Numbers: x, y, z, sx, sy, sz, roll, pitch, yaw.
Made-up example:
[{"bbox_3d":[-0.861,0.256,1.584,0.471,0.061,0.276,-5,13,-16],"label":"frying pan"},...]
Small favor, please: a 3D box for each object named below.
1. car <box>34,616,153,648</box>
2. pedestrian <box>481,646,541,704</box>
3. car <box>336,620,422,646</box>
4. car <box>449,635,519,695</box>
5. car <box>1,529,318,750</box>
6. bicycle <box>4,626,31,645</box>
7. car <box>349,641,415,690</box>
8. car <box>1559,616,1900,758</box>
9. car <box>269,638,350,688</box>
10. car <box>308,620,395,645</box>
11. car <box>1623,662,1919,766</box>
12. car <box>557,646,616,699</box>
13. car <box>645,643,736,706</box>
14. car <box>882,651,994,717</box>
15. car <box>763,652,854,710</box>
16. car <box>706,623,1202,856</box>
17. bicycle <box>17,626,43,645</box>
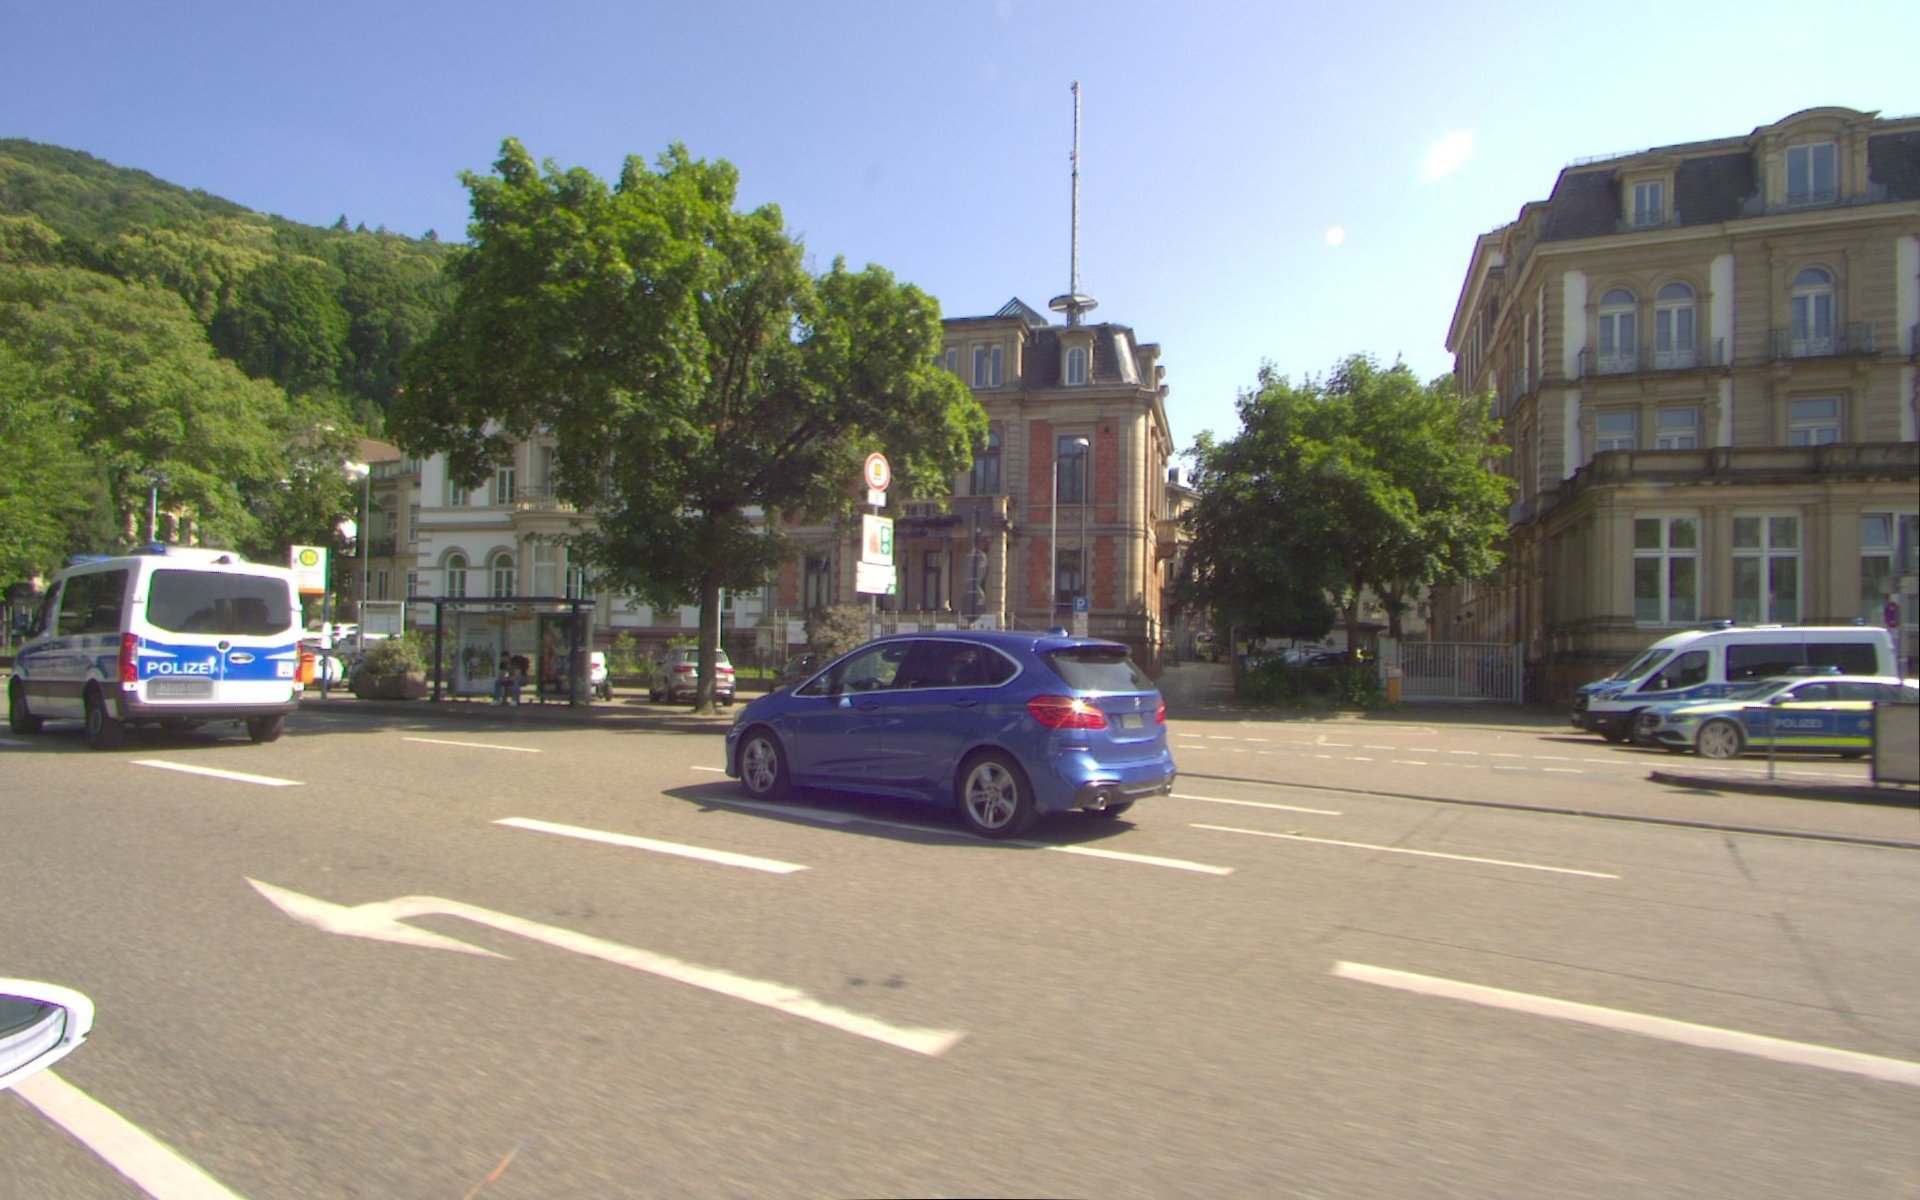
[{"bbox_3d":[-43.535,1.620,50.419,1.844,1.494,4.151,0,-2,19],"label":"car"},{"bbox_3d":[-9.807,1.626,21.924,0.776,1.212,1.022,1,-2,4],"label":"pedestrian"},{"bbox_3d":[-33.439,1.920,57.736,1.790,1.437,4.055,0,-2,22],"label":"car"},{"bbox_3d":[-14.776,1.974,30.966,1.689,1.717,4.255,3,-3,-28],"label":"car"},{"bbox_3d":[-11.084,0.546,13.764,4.863,2.539,2.069,-1,-3,35],"label":"car"},{"bbox_3d":[-57.192,2.146,60.759,1.805,1.099,0.537,0,-1,26],"label":"bicycle"},{"bbox_3d":[-18.529,2.066,32.227,1.689,1.460,3.795,3,-3,-28],"label":"car"},{"bbox_3d":[15.676,1.717,20.768,5.220,2.636,1.999,1,-2,15],"label":"car"},{"bbox_3d":[-21.464,2.055,33.160,1.687,1.530,3.798,2,-3,-25],"label":"car"},{"bbox_3d":[-35.794,1.932,59.012,1.790,1.353,4.082,0,-2,22],"label":"car"},{"bbox_3d":[15.081,2.011,18.119,4.789,1.646,1.822,1,-3,14],"label":"car"},{"bbox_3d":[-11.156,2.141,29.848,1.185,1.501,2.276,3,-3,-32],"label":"car"},{"bbox_3d":[-7.782,2.068,28.690,1.688,1.650,4.300,2,-3,-26],"label":"car"},{"bbox_3d":[-0.674,2.207,26.959,1.721,1.594,3.868,2,-3,-22],"label":"car"},{"bbox_3d":[-4.179,2.160,27.239,1.580,1.434,3.811,2,-3,-22],"label":"car"},{"bbox_3d":[-0.214,1.032,8.790,4.220,1.560,1.713,-1,-4,39],"label":"car"},{"bbox_3d":[-56.998,2.169,61.336,1.805,1.099,0.537,0,-1,26],"label":"bicycle"}]
